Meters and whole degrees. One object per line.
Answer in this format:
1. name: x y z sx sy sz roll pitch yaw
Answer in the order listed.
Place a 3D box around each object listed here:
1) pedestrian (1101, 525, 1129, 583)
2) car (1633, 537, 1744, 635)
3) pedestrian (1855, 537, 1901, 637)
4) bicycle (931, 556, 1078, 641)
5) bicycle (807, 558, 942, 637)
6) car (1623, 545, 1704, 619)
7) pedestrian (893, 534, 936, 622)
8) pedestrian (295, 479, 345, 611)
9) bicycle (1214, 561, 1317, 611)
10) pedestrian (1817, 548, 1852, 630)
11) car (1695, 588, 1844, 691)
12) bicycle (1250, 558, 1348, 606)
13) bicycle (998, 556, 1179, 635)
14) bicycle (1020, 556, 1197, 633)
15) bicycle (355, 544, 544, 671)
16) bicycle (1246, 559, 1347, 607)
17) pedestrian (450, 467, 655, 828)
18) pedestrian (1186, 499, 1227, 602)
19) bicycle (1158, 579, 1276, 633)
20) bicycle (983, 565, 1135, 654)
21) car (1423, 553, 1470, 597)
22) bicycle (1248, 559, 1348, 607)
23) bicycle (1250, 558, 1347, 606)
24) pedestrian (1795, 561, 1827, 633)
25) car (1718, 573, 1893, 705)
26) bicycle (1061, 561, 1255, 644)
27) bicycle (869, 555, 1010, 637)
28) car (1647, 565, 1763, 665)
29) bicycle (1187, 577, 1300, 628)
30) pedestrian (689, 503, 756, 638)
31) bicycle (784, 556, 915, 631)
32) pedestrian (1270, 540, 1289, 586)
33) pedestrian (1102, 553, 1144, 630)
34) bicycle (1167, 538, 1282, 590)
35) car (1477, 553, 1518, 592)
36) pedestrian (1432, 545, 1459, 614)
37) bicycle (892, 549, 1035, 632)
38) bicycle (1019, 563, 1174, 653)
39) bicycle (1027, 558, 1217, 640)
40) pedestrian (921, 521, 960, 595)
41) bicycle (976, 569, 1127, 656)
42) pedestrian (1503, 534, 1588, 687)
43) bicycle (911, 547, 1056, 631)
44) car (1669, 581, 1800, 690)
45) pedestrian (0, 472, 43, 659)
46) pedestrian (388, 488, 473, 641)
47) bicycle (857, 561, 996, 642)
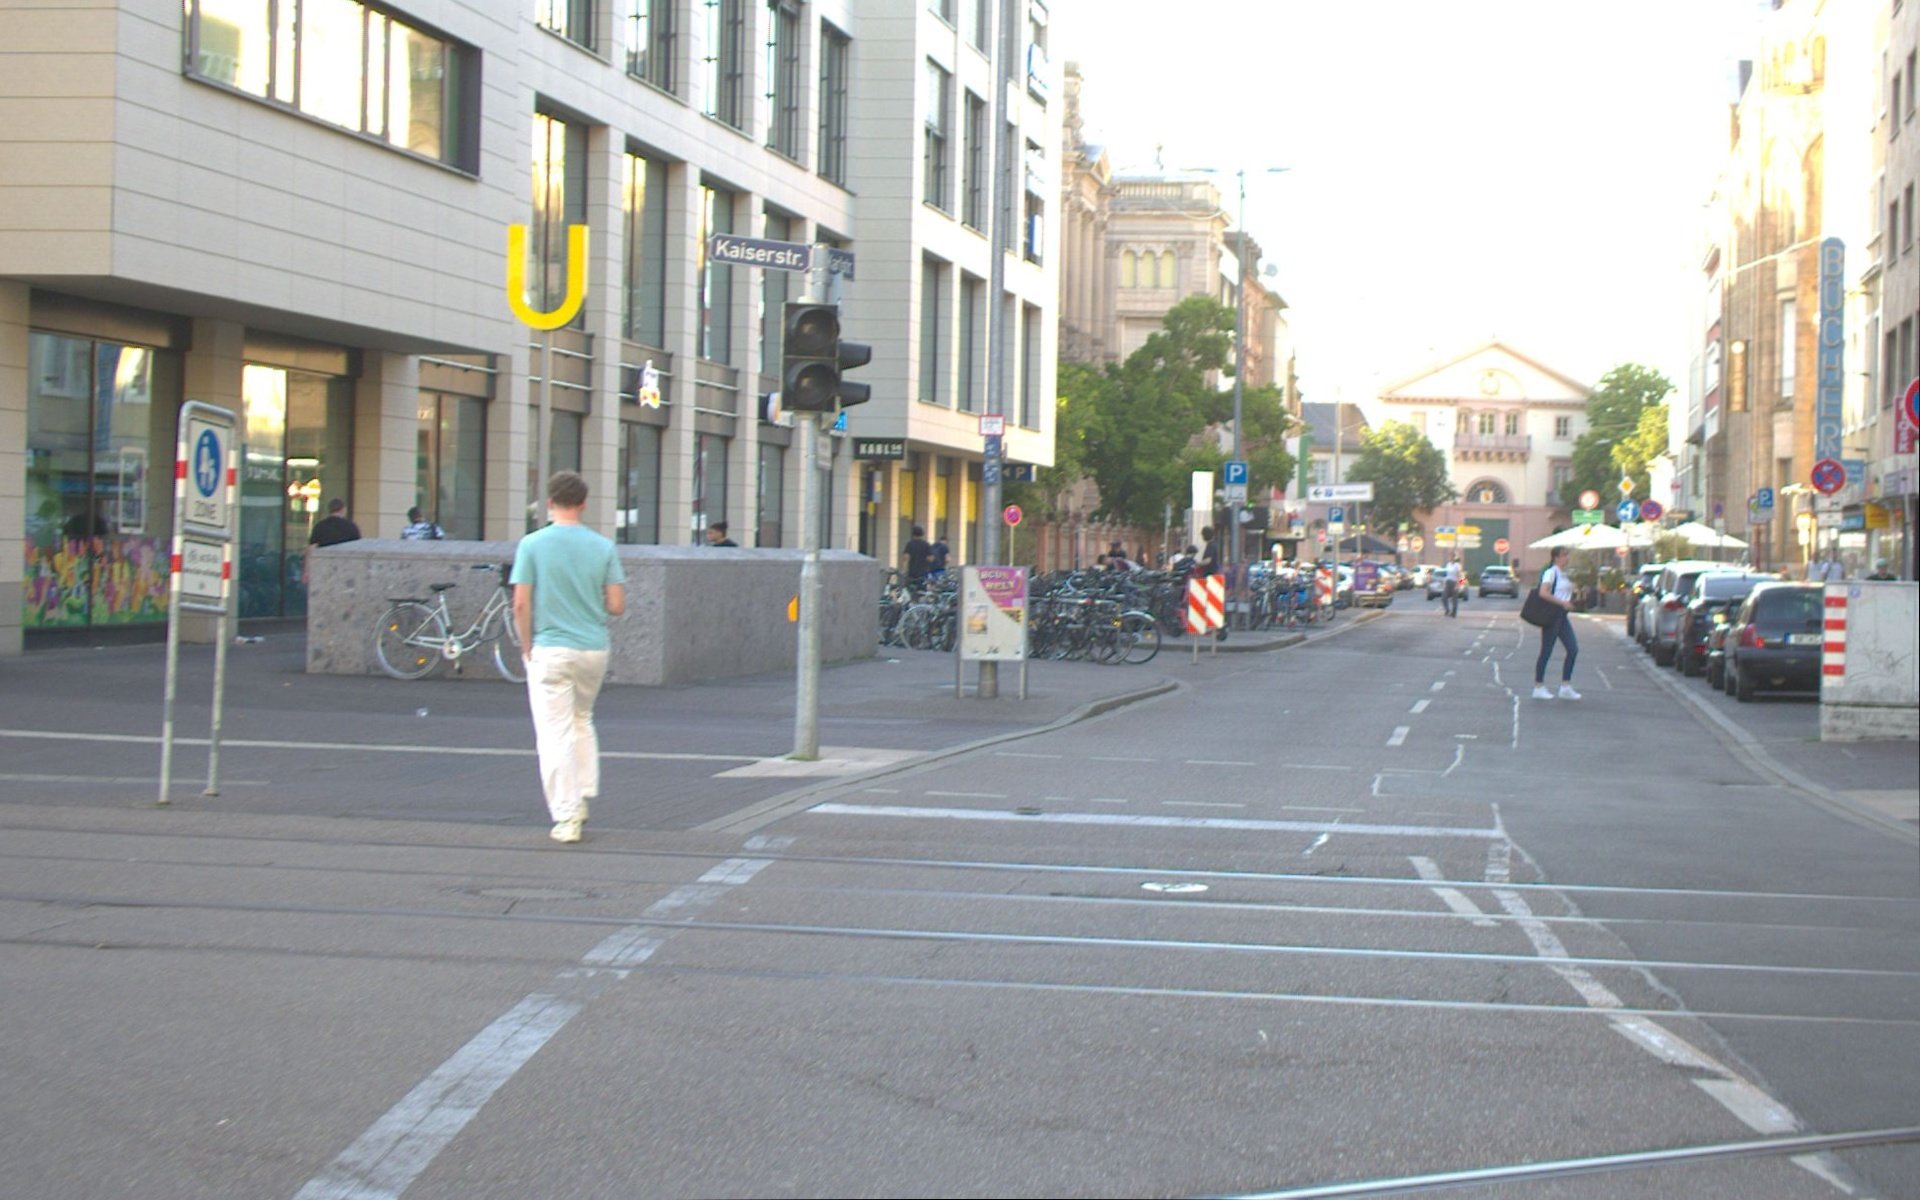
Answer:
1. pedestrian: 4.357 -1.283 96.430 0.680 1.615 0.573 1 1 9
2. car: 13.578 -0.285 64.270 1.800 1.762 4.396 0 1 9
3. pedestrian: 15.739 -0.231 58.955 0.644 1.684 0.671 1 1 8
4. bicycle: 0.629 -0.021 48.828 1.966 1.118 0.558 2 1 -19
5. bicycle: -1.321 -0.039 53.110 1.966 1.118 0.558 2 1 -19
6. car: 16.231 -0.423 79.450 1.679 1.660 3.672 0 1 9
7. pedestrian: -0.843 -0.412 63.769 0.680 1.615 0.573 1 1 9
8. pedestrian: -7.410 -0.634 39.819 0.390 1.510 0.505 2 1 8
9. bicycle: 6.589 -0.306 74.150 2.149 1.026 0.640 2 1 12
10. pedestrian: 19.447 -0.253 76.493 0.644 1.794 0.671 1 1 8
11. car: 10.919 0.503 46.578 1.679 1.286 4.045 0 1 9
12. bicycle: 7.706 -0.407 78.186 2.149 1.026 0.640 2 1 12
13. bicycle: 2.137 -0.079 57.134 2.886 1.251 0.804 1 1 -16
14. bicycle: 2.532 -0.089 58.560 2.886 1.251 0.804 1 1 -16
15. bicycle: -4.888 0.068 32.939 1.697 1.118 0.450 3 1 12
16. bicycle: 7.477 -0.381 76.394 2.149 1.026 0.640 2 1 12
17. pedestrian: -2.058 0.231 17.460 0.865 1.755 0.768 3 1 1
18. pedestrian: 4.410 -0.880 61.503 0.657 1.817 0.528 1 1 0
19. bicycle: 4.882 0.106 65.231 2.149 0.950 0.640 2 1 12
20. bicycle: 1.357 0.131 47.119 1.966 1.118 0.558 2 1 -19
21. car: 22.339 -1.147 157.770 1.994 1.897 3.999 3 1 9
22. bicycle: 7.592 -0.391 77.155 2.149 1.026 0.640 2 1 12
23. bicycle: 7.770 -0.419 78.911 2.149 1.026 0.640 2 1 12
24. pedestrian: 20.792 -0.086 83.992 0.644 1.740 0.671 1 1 8
25. car: 10.099 0.433 41.272 1.679 1.419 3.672 3 1 9
26. bicycle: 3.088 0.039 53.647 2.886 1.251 0.804 1 1 -16
27. bicycle: -0.307 -0.062 50.894 1.966 1.118 0.558 2 1 -19
28. car: 12.480 0.220 57.779 1.679 1.608 4.027 0 1 9
29. bicycle: 5.623 0.039 68.149 2.149 0.950 0.640 2 1 12
30. pedestrian: -3.039 -0.379 43.968 0.681 1.675 0.600 3 1 7
31. bicycle: -1.771 -0.104 55.199 1.966 1.118 0.558 2 1 -19
32. pedestrian: 10.204 -1.183 109.842 0.549 1.481 0.565 1 1 8
33. pedestrian: 3.290 -0.179 69.460 0.751 1.524 0.485 1 1 9
34. bicycle: 5.167 -0.701 67.176 2.149 0.950 0.640 2 1 12
35. car: 27.739 -1.407 177.435 1.994 1.897 3.999 3 1 9
36. pedestrian: 12.845 -0.543 90.910 0.599 1.817 0.452 2 1 15
37. bicycle: 0.053 -0.137 50.244 1.966 1.118 0.558 2 1 -19
38. bicycle: 1.839 0.108 46.259 1.966 1.118 0.558 2 1 -19
39. bicycle: 2.583 -0.010 54.836 2.886 1.251 0.804 1 1 -16
40. pedestrian: -0.442 -0.933 76.548 0.731 1.615 0.661 1 1 9
41. bicycle: 1.274 0.171 47.835 1.966 1.118 0.558 2 1 -19
42. pedestrian: 6.658 0.114 39.131 0.834 1.715 0.682 1 1 2
43. bicycle: 0.341 -0.155 49.528 1.966 1.118 0.558 2 1 -19
44. car: 11.618 0.499 51.735 1.679 1.542 3.672 0 1 9
45. pedestrian: -8.769 -0.321 30.599 0.767 1.654 0.815 3 1 24
46. pedestrian: -6.197 -0.420 40.242 0.782 1.745 0.600 3 1 7
47. bicycle: -0.504 0.025 51.904 1.966 1.118 0.558 2 1 -19
